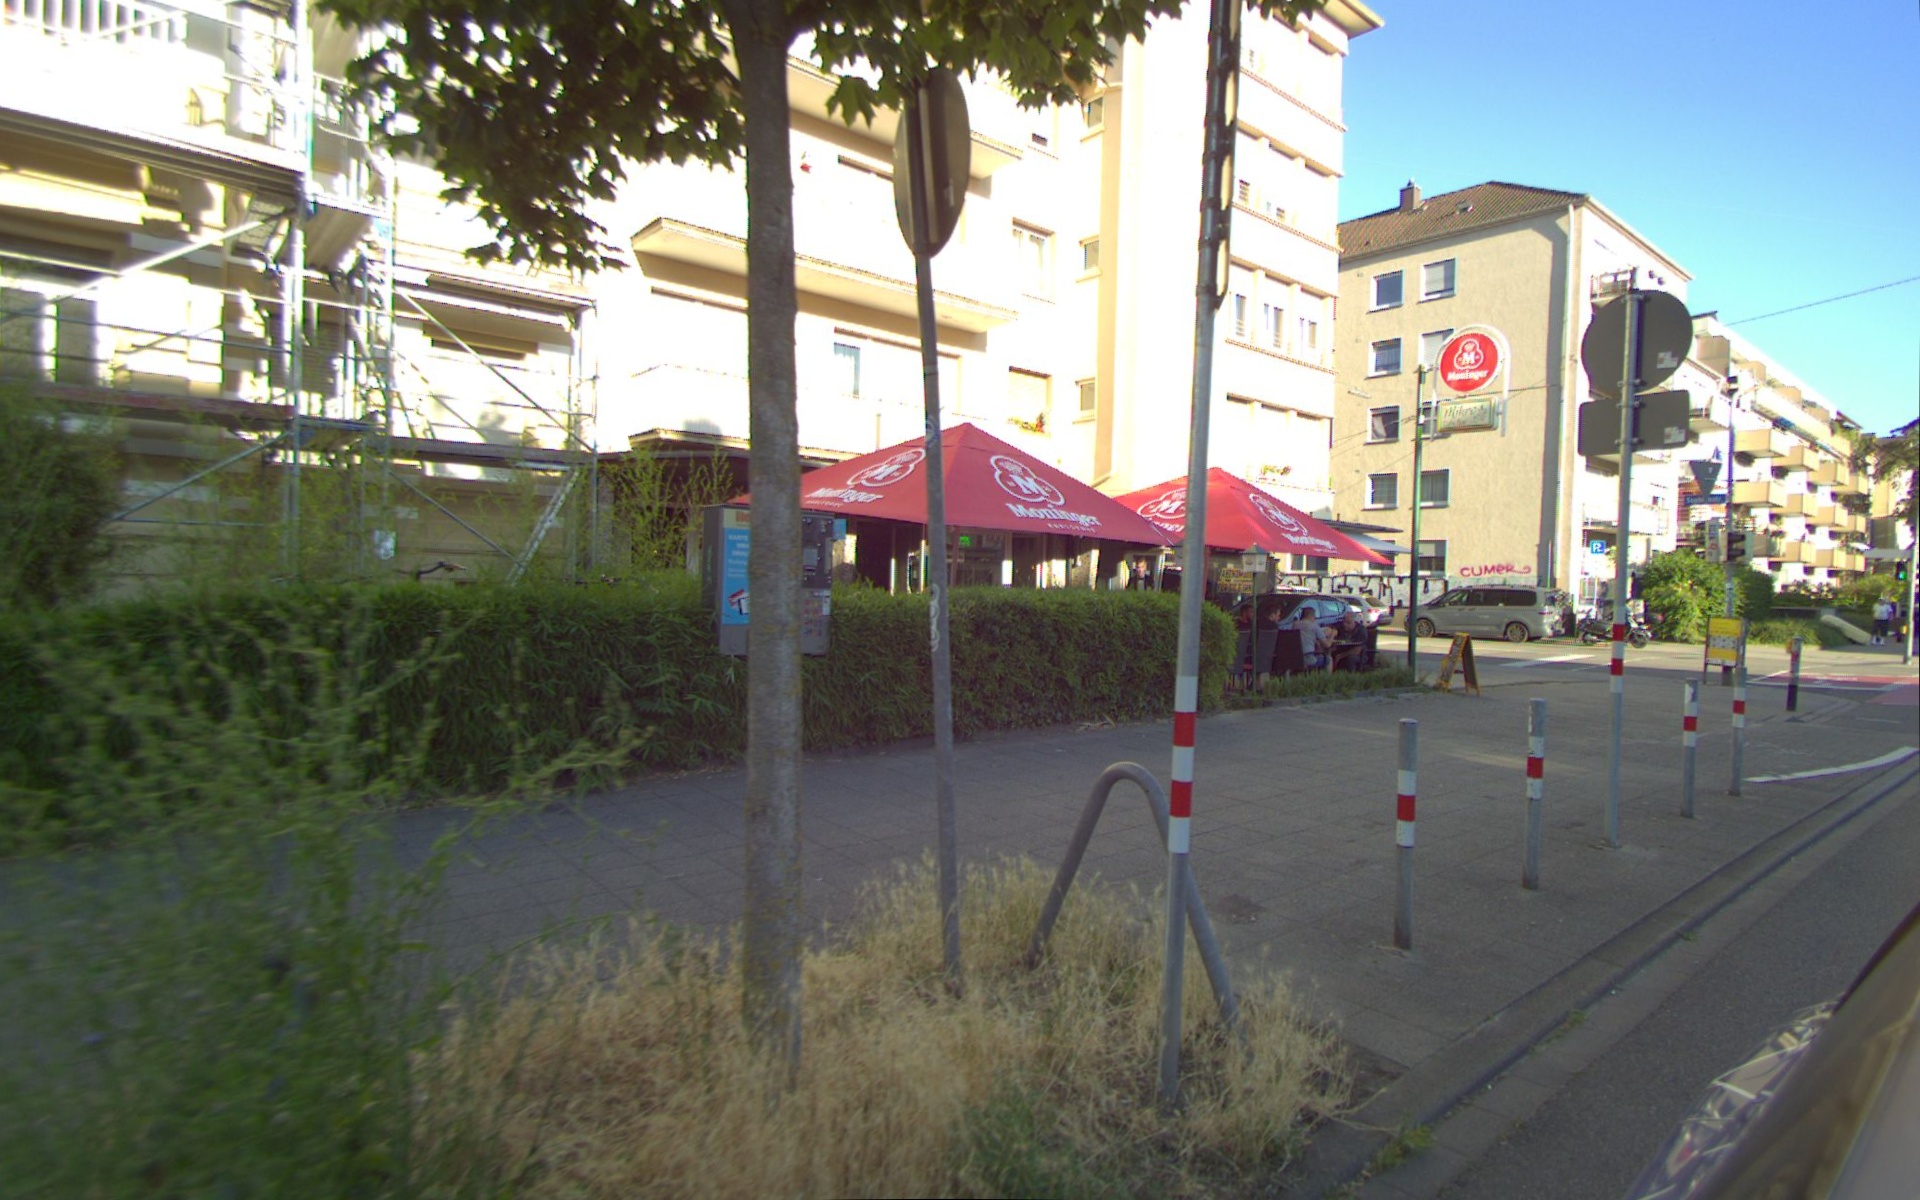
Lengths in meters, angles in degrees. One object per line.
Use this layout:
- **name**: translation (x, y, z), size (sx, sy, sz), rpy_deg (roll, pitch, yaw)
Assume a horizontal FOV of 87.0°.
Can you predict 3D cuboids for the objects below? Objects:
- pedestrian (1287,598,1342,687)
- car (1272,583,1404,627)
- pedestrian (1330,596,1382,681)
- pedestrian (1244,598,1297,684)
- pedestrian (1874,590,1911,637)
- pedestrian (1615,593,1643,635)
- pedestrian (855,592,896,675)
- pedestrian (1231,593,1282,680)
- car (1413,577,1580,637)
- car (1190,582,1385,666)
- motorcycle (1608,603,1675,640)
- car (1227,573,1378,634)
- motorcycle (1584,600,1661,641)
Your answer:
- **pedestrian**: translation (4.824, 0.561, 13.770), size (0.516, 1.164, 0.495), rpy_deg (0, 0, -36)
- **car**: translation (15.003, 0.143, 40.363), size (1.920, 1.560, 4.615), rpy_deg (-2, 3, -42)
- **pedestrian**: translation (5.572, 0.527, 14.243), size (0.620, 1.164, 0.413), rpy_deg (0, 0, -36)
- **pedestrian**: translation (4.327, 0.560, 14.099), size (0.516, 1.164, 0.487), rpy_deg (0, 0, -36)
- **pedestrian**: translation (34.175, 0.484, 37.079), size (0.648, 1.703, 0.831), rpy_deg (1, 2, -36)
- **pedestrian**: translation (22.612, 0.458, 34.224), size (0.584, 1.409, 0.641), rpy_deg (0, 1, -41)
- **pedestrian**: translation (-1.275, 0.493, 15.293), size (0.405, 1.203, 0.526), rpy_deg (-2, 1, -34)
- **pedestrian**: translation (4.525, 0.544, 15.444), size (0.530, 1.299, 0.525), rpy_deg (0, 0, -38)
- **car**: translation (18.742, 0.170, 35.554), size (1.920, 1.889, 4.836), rpy_deg (-1, 2, -42)
- **car**: translation (6.678, 0.427, 20.440), size (4.129, 1.503, 1.832), rpy_deg (0, 1, -40)
- **motorcycle**: translation (21.967, 0.675, 32.637), size (0.584, 1.126, 1.697), rpy_deg (0, 1, -39)
- **car**: translation (11.210, 0.065, 33.328), size (1.918, 1.861, 4.350), rpy_deg (0, 1, -40)
- **motorcycle**: translation (21.022, 0.629, 32.138), size (1.981, 1.216, 0.764), rpy_deg (1, 1, 38)
